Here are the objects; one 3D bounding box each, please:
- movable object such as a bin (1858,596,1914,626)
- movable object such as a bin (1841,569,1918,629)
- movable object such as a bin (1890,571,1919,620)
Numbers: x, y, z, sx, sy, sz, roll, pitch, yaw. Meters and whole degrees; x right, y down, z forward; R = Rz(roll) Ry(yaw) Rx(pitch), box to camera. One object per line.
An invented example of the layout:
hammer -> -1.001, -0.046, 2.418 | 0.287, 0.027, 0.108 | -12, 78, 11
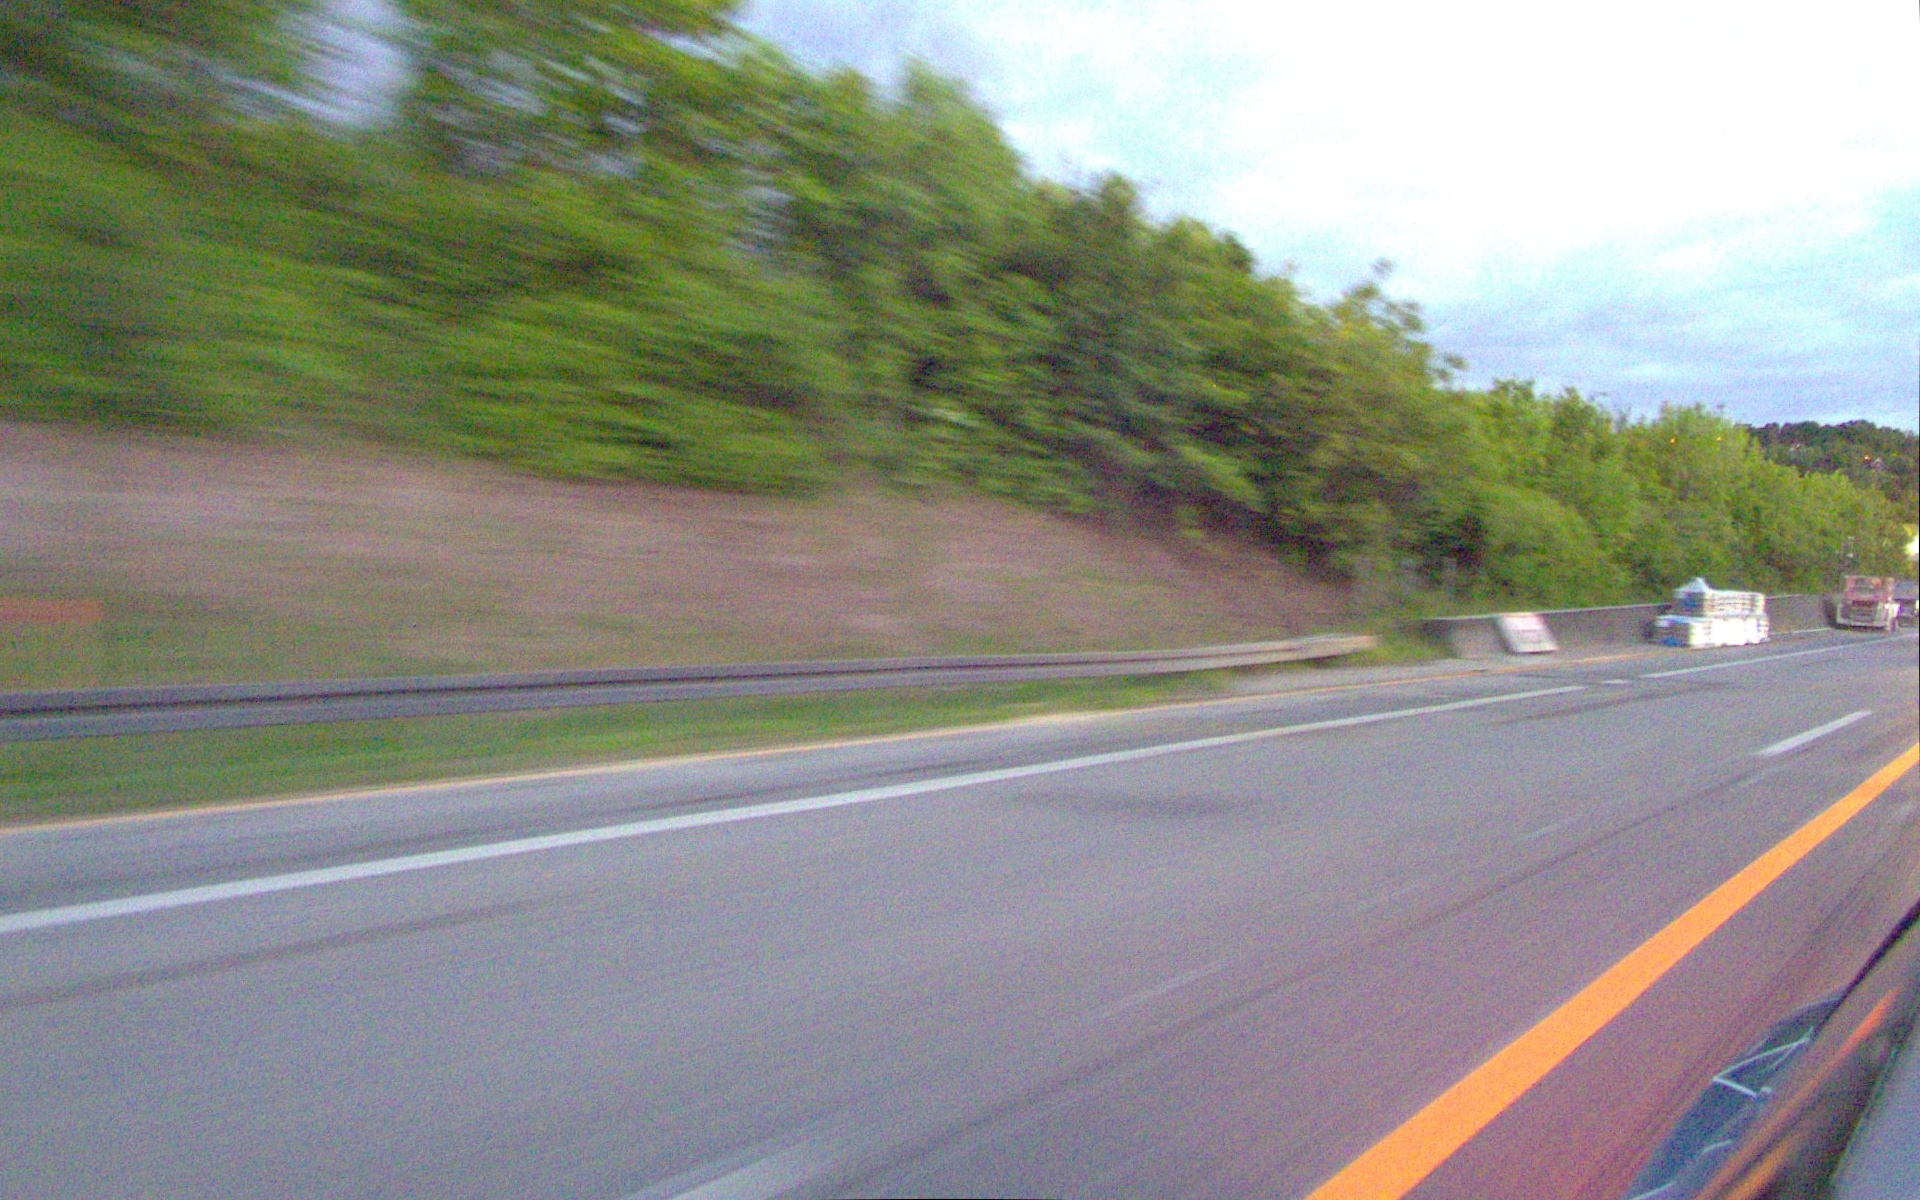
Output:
movable object such as a bin -> 54.409, 0.619, 59.413 | 4.014, 1.621, 1.997 | -1, 3, -42
movable object such as a bin -> 50.925, -0.103, 56.002 | 5.708, 3.146, 2.624 | 0, 2, -43
movable object such as a bin -> 67.883, -0.296, 71.566 | 5.485, 3.359, 2.568 | 0, 2, -43
